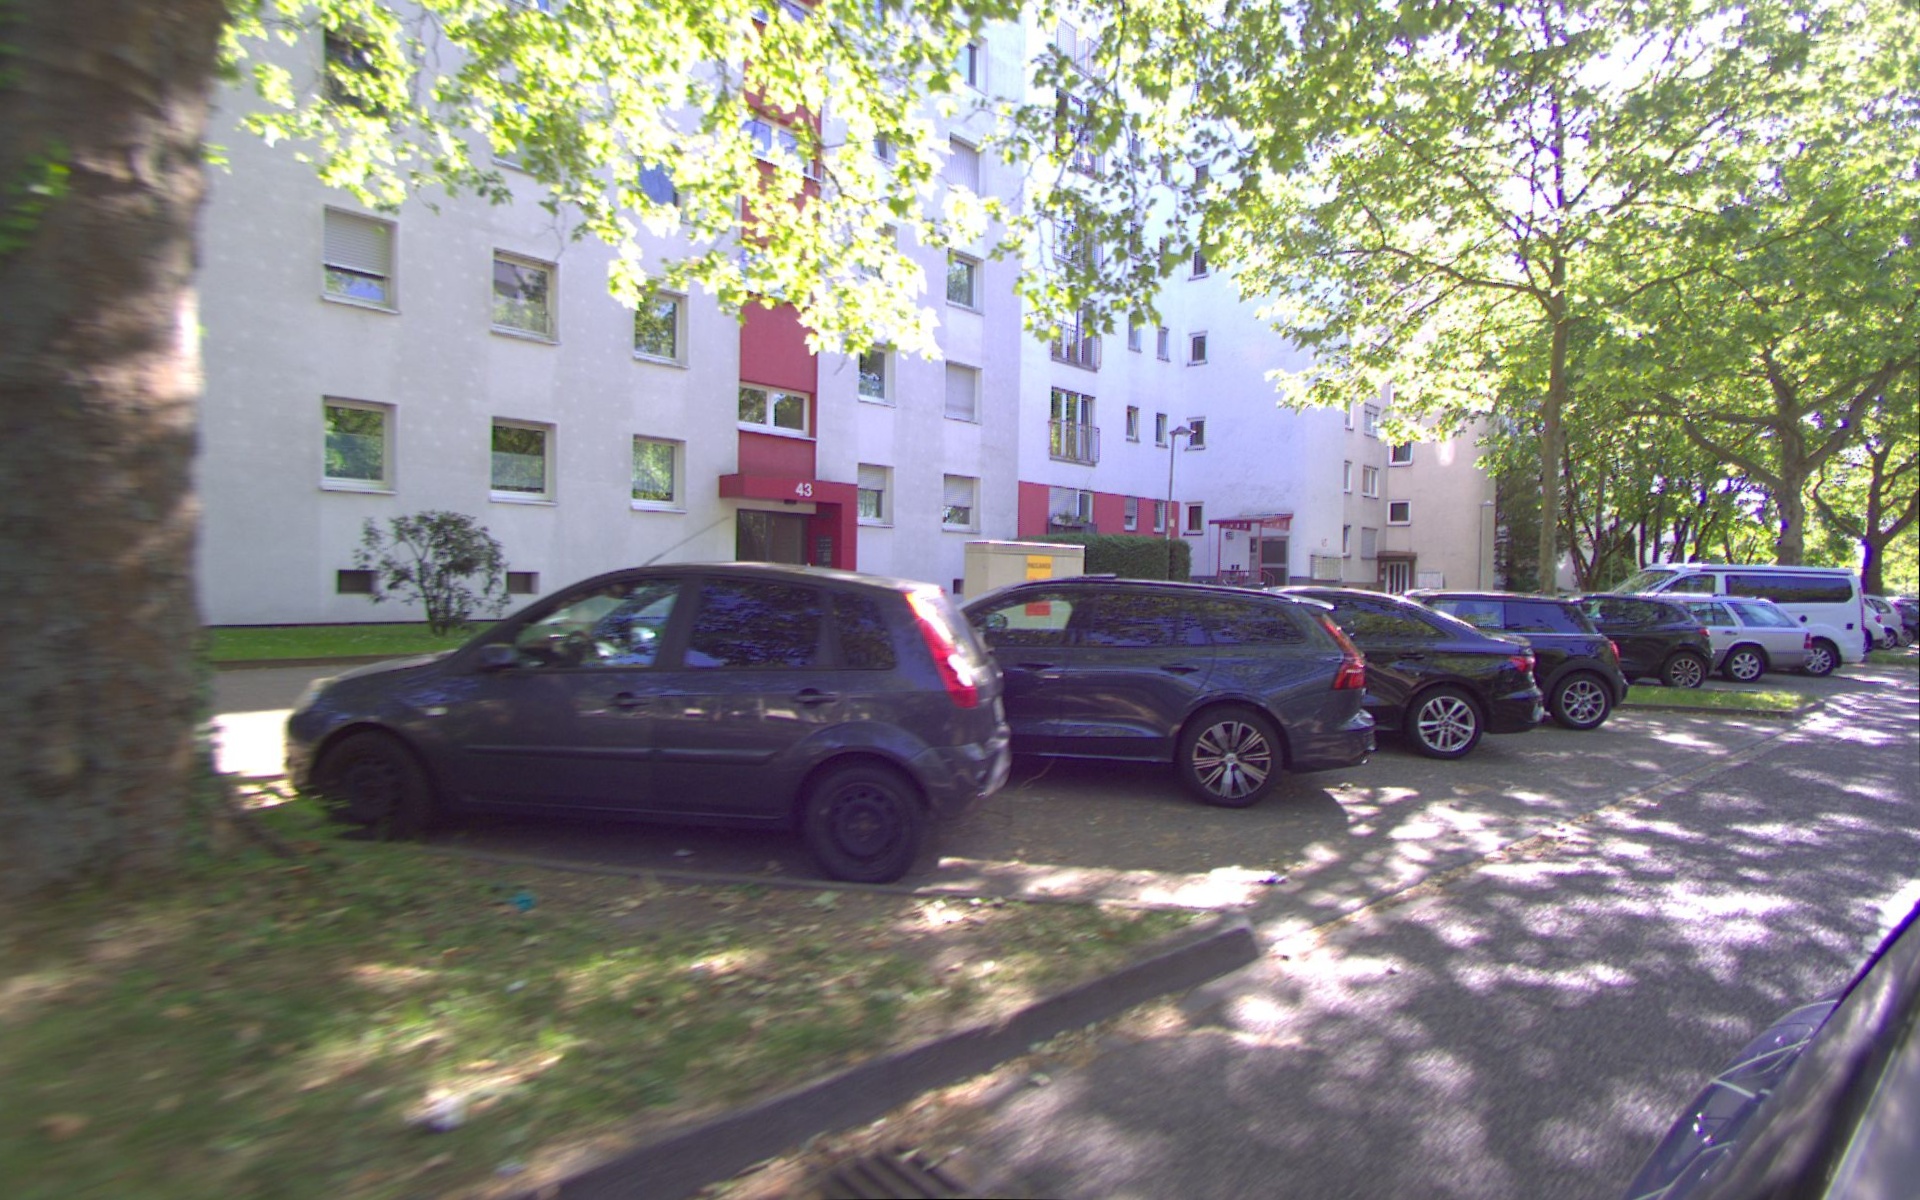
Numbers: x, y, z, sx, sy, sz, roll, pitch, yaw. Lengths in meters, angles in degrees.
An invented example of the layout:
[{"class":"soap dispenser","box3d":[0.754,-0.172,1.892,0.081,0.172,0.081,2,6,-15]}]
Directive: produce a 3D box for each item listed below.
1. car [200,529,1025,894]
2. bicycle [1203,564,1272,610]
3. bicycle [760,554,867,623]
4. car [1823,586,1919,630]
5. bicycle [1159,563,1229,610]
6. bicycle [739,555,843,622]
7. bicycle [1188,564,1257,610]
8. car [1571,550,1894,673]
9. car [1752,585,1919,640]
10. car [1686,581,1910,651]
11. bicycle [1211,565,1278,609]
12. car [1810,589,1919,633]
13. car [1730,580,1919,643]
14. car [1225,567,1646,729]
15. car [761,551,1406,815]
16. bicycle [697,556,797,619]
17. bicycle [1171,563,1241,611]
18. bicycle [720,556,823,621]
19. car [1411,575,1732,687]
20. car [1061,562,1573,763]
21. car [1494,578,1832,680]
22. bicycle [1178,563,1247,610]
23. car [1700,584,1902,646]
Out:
[{"class":"car","box3d":[-1.650,0.451,5.620,3.930,1.479,1.798,3,3,5]},{"class":"bicycle","box3d":[7.856,-0.377,28.676,1.796,1.143,0.541,6,4,45]},{"class":"bicycle","box3d":[-2.493,-0.194,17.339,1.769,1.121,0.591,0,1,-41]},{"class":"car","box3d":[37.059,0.335,40.083,3.935,1.595,1.796,3,2,9]},{"class":"bicycle","box3d":[6.278,-0.378,27.263,1.796,1.143,0.492,6,4,45]},{"class":"bicycle","box3d":[-2.962,-0.197,17.839,1.769,1.121,0.591,0,1,-41]},{"class":"bicycle","box3d":[7.352,-0.386,28.384,1.796,1.143,0.492,6,4,45]},{"class":"car","box3d":[15.033,0.150,19.984,4.515,2.077,2.013,3,3,9]},{"class":"car","box3d":[28.564,0.390,32.578,4.339,1.445,1.947,3,3,10]},{"class":"car","box3d":[21.651,0.382,26.279,4.134,1.528,1.800,3,3,2]},{"class":"bicycle","box3d":[8.171,-0.390,29.138,1.796,1.143,0.492,6,4,45]},{"class":"car","box3d":[34.079,0.416,36.845,4.508,1.440,1.799,2,2,4]},{"class":"car","box3d":[25.943,0.306,30.452,3.932,1.609,1.797,3,3,7]},{"class":"car","box3d":[5.252,0.465,11.681,3.931,1.485,1.780,3,3,7]},{"class":"car","box3d":[0.832,0.468,7.593,4.187,1.479,1.796,3,3,9]},{"class":"bicycle","box3d":[-3.971,-0.232,18.974,1.769,1.121,0.591,0,1,-41]},{"class":"bicycle","box3d":[6.690,-0.367,27.592,1.796,1.143,0.492,6,4,45]},{"class":"bicycle","box3d":[-3.401,-0.206,18.329,1.769,1.121,0.591,0,1,-41]},{"class":"car","box3d":[9.500,0.435,16.035,3.856,1.434,1.798,3,3,7]},{"class":"car","box3d":[3.146,0.477,9.684,4.187,1.479,1.796,3,3,10]},{"class":"car","box3d":[12.292,0.451,17.989,4.513,1.441,1.797,3,3,8]},{"class":"bicycle","box3d":[6.977,-0.385,28.029,1.796,1.143,0.492,6,4,45]},{"class":"car","box3d":[23.529,0.398,28.447,3.929,1.436,1.831,3,3,4]}]
